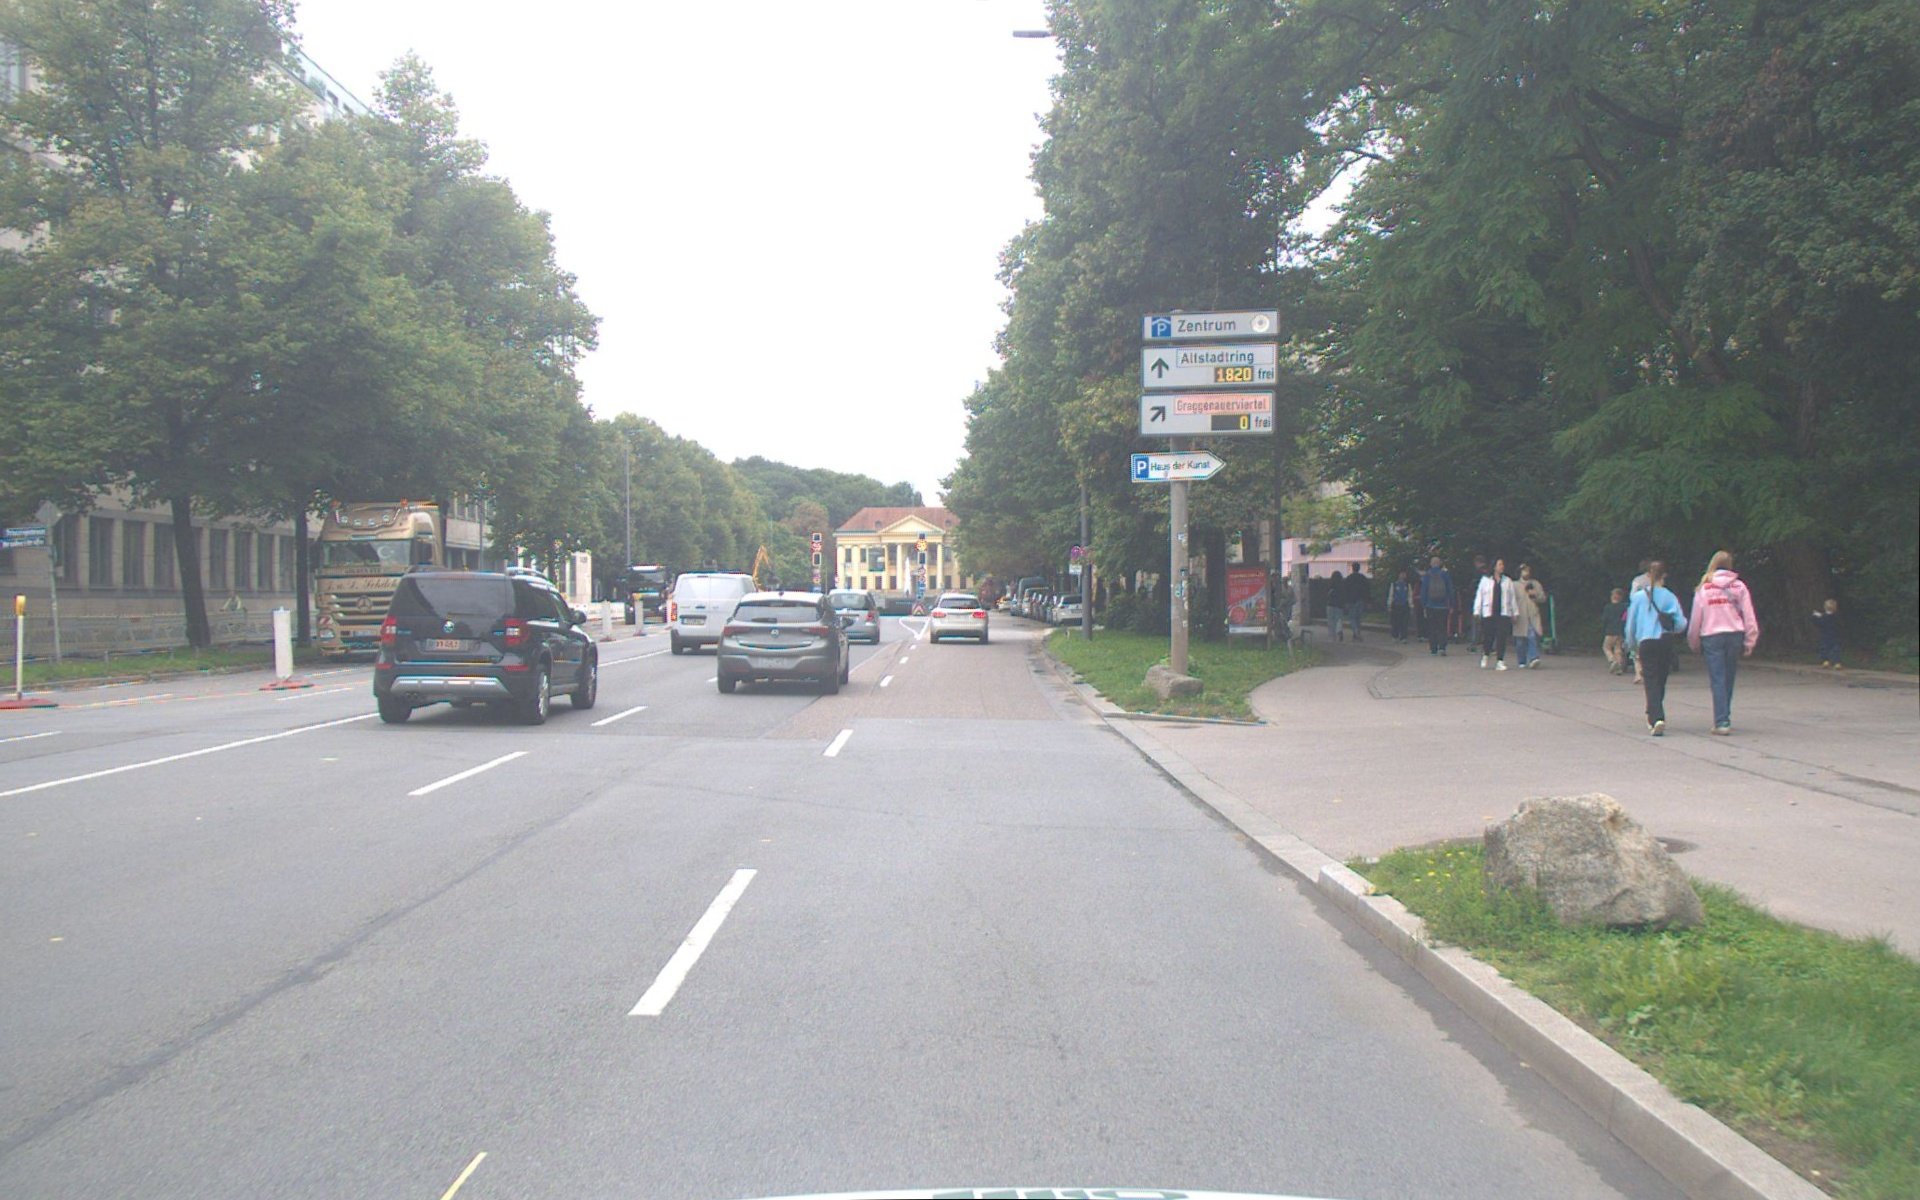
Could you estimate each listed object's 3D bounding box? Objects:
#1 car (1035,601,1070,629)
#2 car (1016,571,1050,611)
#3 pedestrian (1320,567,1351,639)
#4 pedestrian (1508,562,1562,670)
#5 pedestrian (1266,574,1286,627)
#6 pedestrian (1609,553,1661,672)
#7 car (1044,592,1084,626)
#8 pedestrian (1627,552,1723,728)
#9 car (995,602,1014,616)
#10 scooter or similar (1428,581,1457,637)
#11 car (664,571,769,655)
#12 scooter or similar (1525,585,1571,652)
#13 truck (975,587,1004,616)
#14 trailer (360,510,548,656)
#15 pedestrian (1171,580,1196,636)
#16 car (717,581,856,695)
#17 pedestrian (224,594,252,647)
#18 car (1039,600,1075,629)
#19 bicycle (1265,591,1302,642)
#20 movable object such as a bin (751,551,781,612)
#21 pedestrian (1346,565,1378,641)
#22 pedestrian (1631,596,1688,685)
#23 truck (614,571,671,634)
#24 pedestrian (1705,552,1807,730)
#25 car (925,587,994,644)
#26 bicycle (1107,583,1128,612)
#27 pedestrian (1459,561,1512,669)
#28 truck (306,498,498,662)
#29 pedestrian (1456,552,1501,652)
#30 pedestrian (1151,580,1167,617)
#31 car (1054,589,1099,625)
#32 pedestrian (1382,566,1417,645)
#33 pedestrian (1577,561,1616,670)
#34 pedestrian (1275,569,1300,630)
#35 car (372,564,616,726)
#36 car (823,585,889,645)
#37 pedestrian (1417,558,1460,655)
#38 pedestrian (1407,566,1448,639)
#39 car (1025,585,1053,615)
[{"bbox_3d":[5.267,0.845,94.417,1.785,1.490,4.028,-1,0,0],"label":"car"},{"bbox_3d":[5.032,-0.640,114.872,1.953,2.689,4.876,1,0,-2],"label":"car"},{"bbox_3d":[9.018,0.069,39.699,0.595,1.710,0.754,1,0,3],"label":"pedestrian"},{"bbox_3d":[9.060,0.247,26.100,0.738,1.672,0.691,1,0,15],"label":"pedestrian"},{"bbox_3d":[10.168,0.011,53.213,0.568,1.705,0.553,1,0,3],"label":"pedestrian"},{"bbox_3d":[9.808,0.178,24.032,0.618,1.696,0.573,1,0,15],"label":"pedestrian"},{"bbox_3d":[5.147,0.436,82.038,1.689,1.577,4.585,-1,0,0],"label":"car"},{"bbox_3d":[7.019,0.377,16.265,0.738,1.672,0.850,1,0,15],"label":"pedestrian"},{"bbox_3d":[4.340,0.866,161.725,1.689,1.347,4.028,-1,0,0],"label":"car"},{"bbox_3d":[10.923,0.193,37.441,0.300,1.245,0.922,-1,0,38],"label":"scooter or similar"},{"bbox_3d":[-5.832,0.314,40.143,1.860,1.880,4.955,-1,0,-1],"label":"car"},{"bbox_3d":[10.830,0.336,30.503,0.409,1.219,1.219,1,0,0],"label":"scooter or similar"},{"bbox_3d":[3.532,0.154,199.257,3.257,3.426,8.661,1,0,0],"label":"truck"},{"bbox_3d":[-14.782,-0.434,49.427,2.892,3.805,11.758,1,0,-5],"label":"trailer"},{"bbox_3d":[7.951,0.282,58.876,0.763,1.943,0.771,1,0,0],"label":"pedestrian"},{"bbox_3d":[-2.551,0.536,25.131,1.675,1.579,4.000,1,0,0],"label":"car"},{"bbox_3d":[-24.431,0.692,55.965,0.566,1.762,0.764,1,0,0],"label":"pedestrian"},{"bbox_3d":[5.193,0.759,88.837,1.689,1.490,4.776,-1,0,0],"label":"car"},{"bbox_3d":[6.839,0.338,35.071,0.376,1.039,2.079,1,0,0],"label":"bicycle"},{"bbox_3d":[-21.473,-2.000,183.573,2.644,6.625,5.175,1,0,0],"label":"movable object such as a bin"},{"bbox_3d":[9.616,0.076,39.537,0.595,1.794,0.797,1,0,3],"label":"pedestrian"},{"bbox_3d":[9.350,0.532,22.124,0.618,1.156,0.573,1,0,15],"label":"pedestrian"},{"bbox_3d":[-18.170,0.117,95.098,2.788,3.415,8.747,1,0,-9],"label":"truck"},{"bbox_3d":[7.725,0.386,16.087,0.738,1.672,0.850,1,0,15],"label":"pedestrian"},{"bbox_3d":[-0.065,0.454,50.578,1.745,1.673,3.995,1,0,-5],"label":"car"},{"bbox_3d":[7.142,-0.115,75.151,0.616,1.252,2.617,1,0,-2],"label":"bicycle"},{"bbox_3d":[8.295,0.237,26.127,0.738,1.672,0.651,1,0,15],"label":"pedestrian"},{"bbox_3d":[-14.281,-0.465,43.014,2.859,3.841,7.659,1,0,-4],"label":"truck"},{"bbox_3d":[9.709,0.039,30.998,0.576,1.854,0.850,1,0,0],"label":"pedestrian"},{"bbox_3d":[10.525,-0.084,87.544,0.748,1.943,0.771,1,0,0],"label":"pedestrian"},{"bbox_3d":[5.380,0.315,76.728,1.790,1.577,4.751,-1,0,0],"label":"car"},{"bbox_3d":[10.030,0.126,37.757,0.738,1.767,0.850,1,0,15],"label":"pedestrian"},{"bbox_3d":[9.414,0.223,24.468,0.474,1.593,0.573,1,0,15],"label":"pedestrian"},{"bbox_3d":[9.929,-0.017,50.099,0.617,1.805,0.782,1,0,3],"label":"pedestrian"},{"bbox_3d":[-5.283,0.484,19.303,1.687,1.665,4.204,-1,0,-1],"label":"car"},{"bbox_3d":[-3.047,0.415,49.001,1.743,1.683,3.999,1,0,-1],"label":"car"},{"bbox_3d":[8.915,0.118,30.862,0.738,1.767,0.850,1,0,15],"label":"pedestrian"},{"bbox_3d":[10.778,0.053,38.158,0.669,1.666,0.662,1,0,-12],"label":"pedestrian"},{"bbox_3d":[5.136,0.009,107.942,1.689,1.900,4.028,-1,0,0],"label":"car"}]
